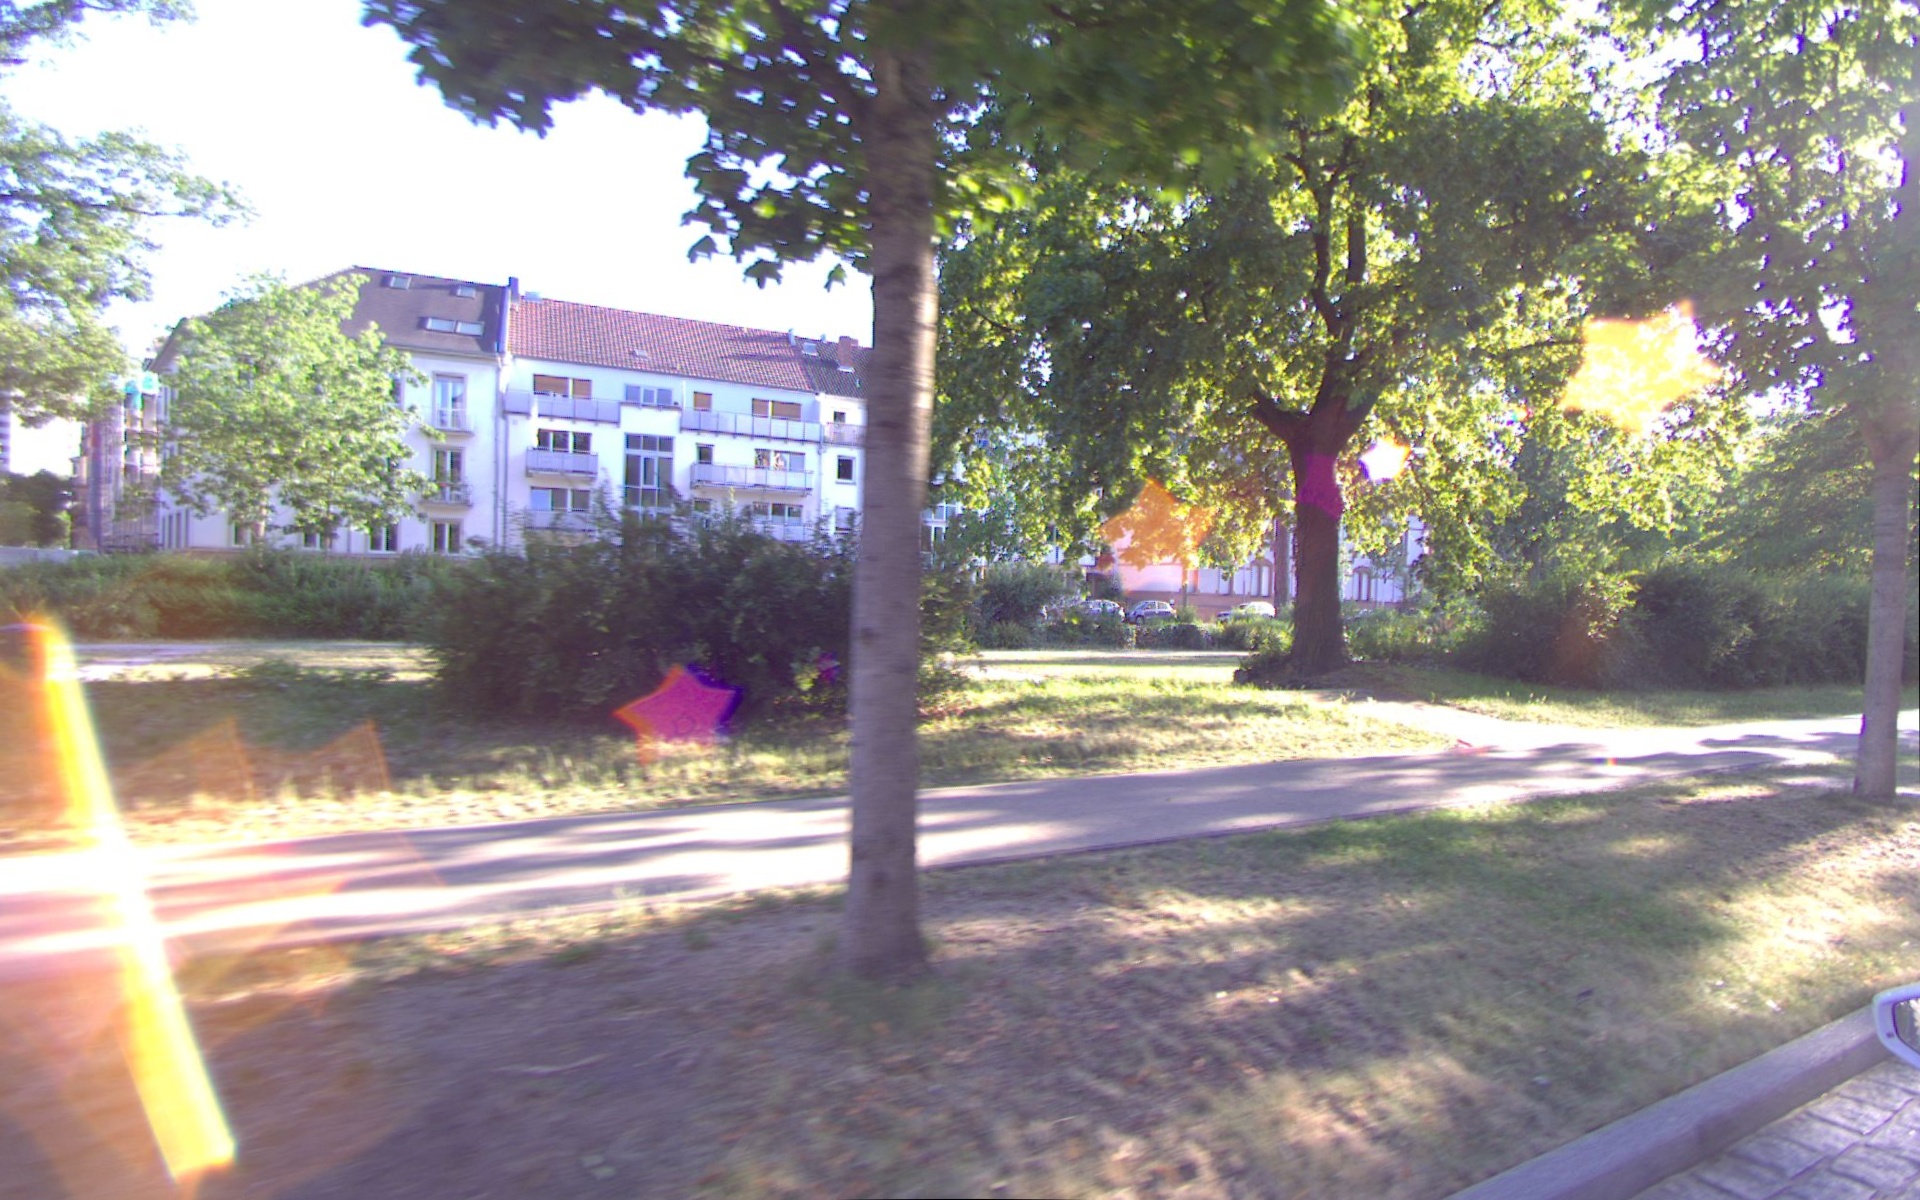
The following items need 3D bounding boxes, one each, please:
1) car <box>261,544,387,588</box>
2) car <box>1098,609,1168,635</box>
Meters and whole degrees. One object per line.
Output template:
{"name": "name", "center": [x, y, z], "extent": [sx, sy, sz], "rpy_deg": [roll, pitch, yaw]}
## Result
{"name": "car", "center": [-26.748, -1.407, 42.410], "extent": [4.157, 1.603, 1.926], "rpy_deg": [2, 1, -23]}
{"name": "car", "center": [10.154, 1.312, 58.946], "extent": [3.815, 1.333, 1.626], "rpy_deg": [2, 2, -30]}
